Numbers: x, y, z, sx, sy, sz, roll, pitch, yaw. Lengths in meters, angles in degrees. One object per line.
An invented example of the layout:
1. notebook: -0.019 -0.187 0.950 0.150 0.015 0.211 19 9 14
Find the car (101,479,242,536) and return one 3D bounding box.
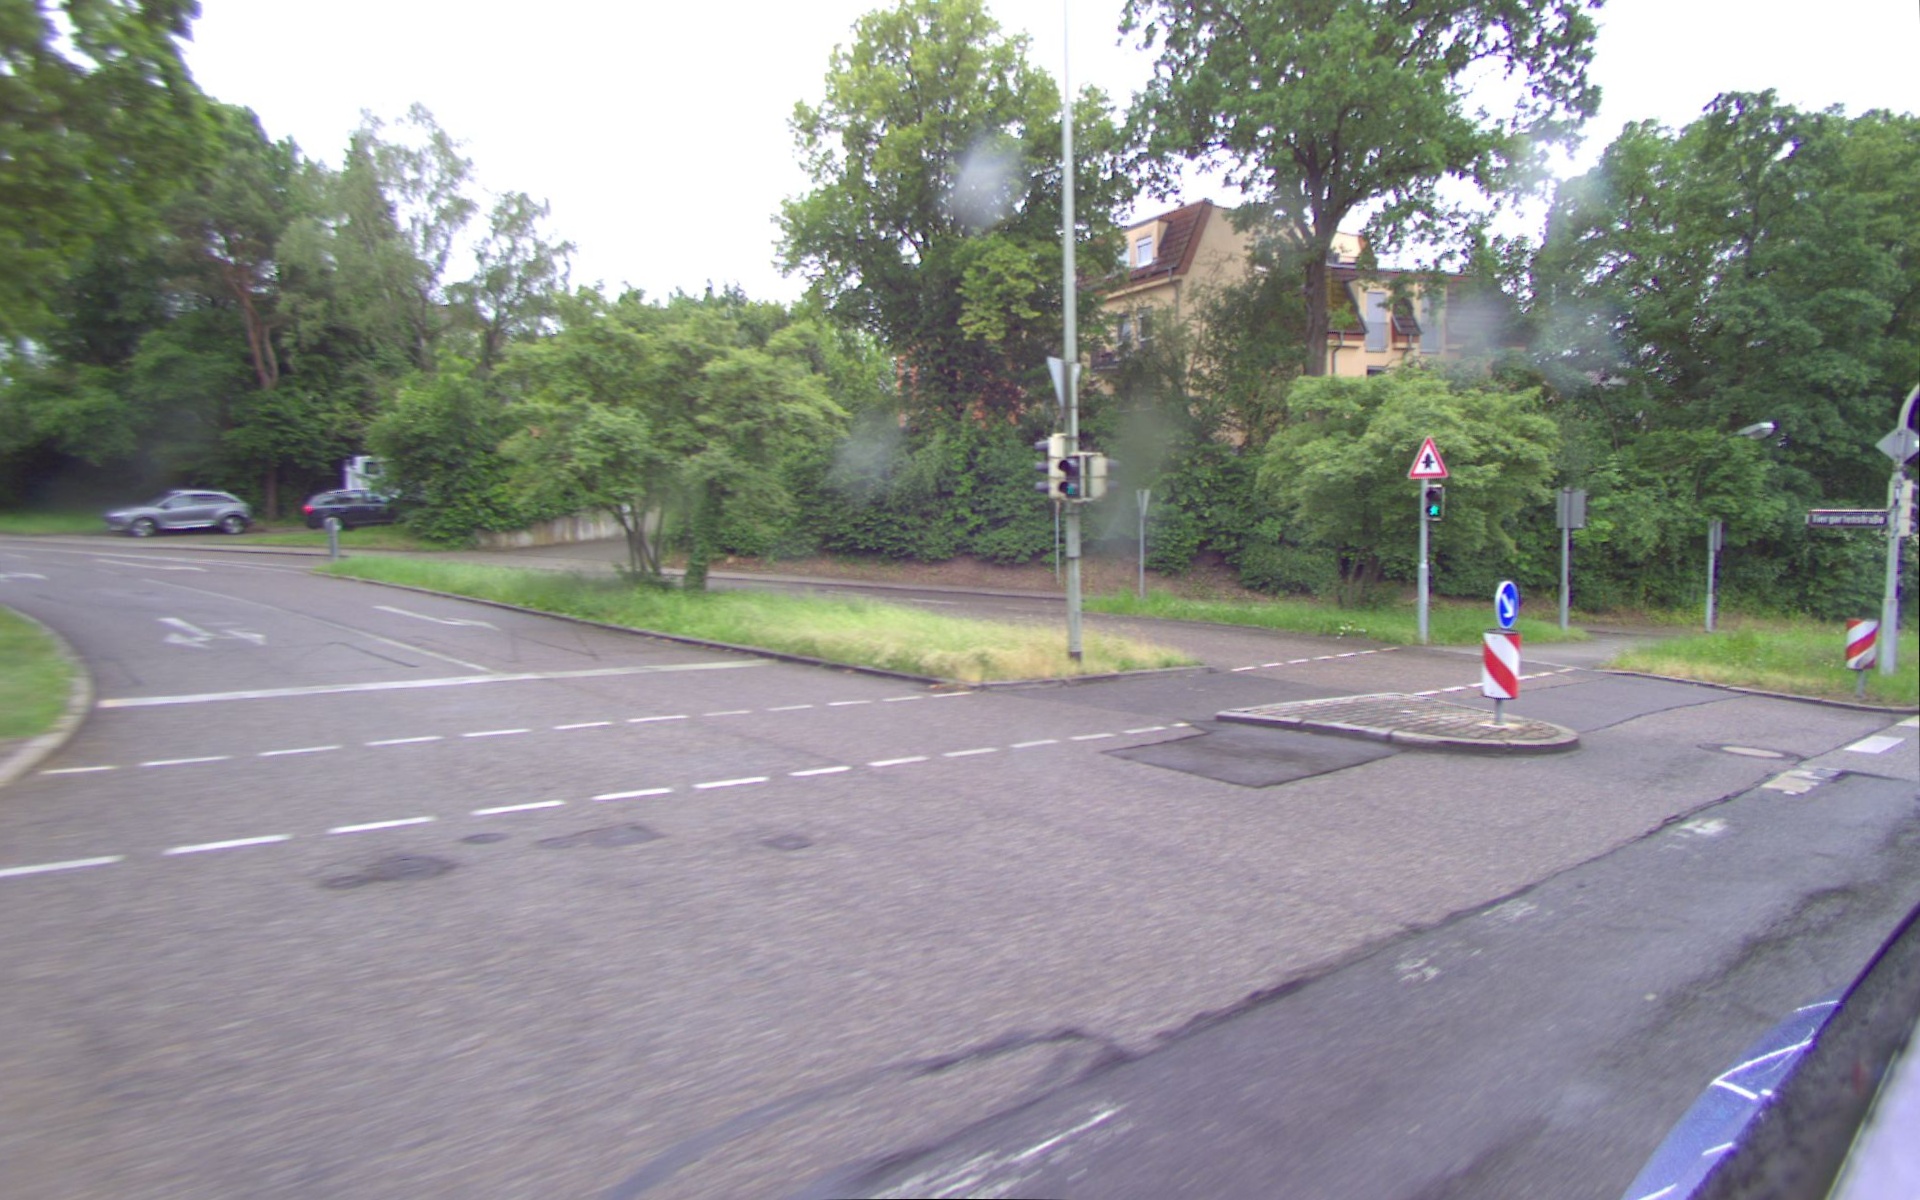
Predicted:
1. car: -30.041 -3.495 38.646 1.948 1.922 3.945 5 4 38
